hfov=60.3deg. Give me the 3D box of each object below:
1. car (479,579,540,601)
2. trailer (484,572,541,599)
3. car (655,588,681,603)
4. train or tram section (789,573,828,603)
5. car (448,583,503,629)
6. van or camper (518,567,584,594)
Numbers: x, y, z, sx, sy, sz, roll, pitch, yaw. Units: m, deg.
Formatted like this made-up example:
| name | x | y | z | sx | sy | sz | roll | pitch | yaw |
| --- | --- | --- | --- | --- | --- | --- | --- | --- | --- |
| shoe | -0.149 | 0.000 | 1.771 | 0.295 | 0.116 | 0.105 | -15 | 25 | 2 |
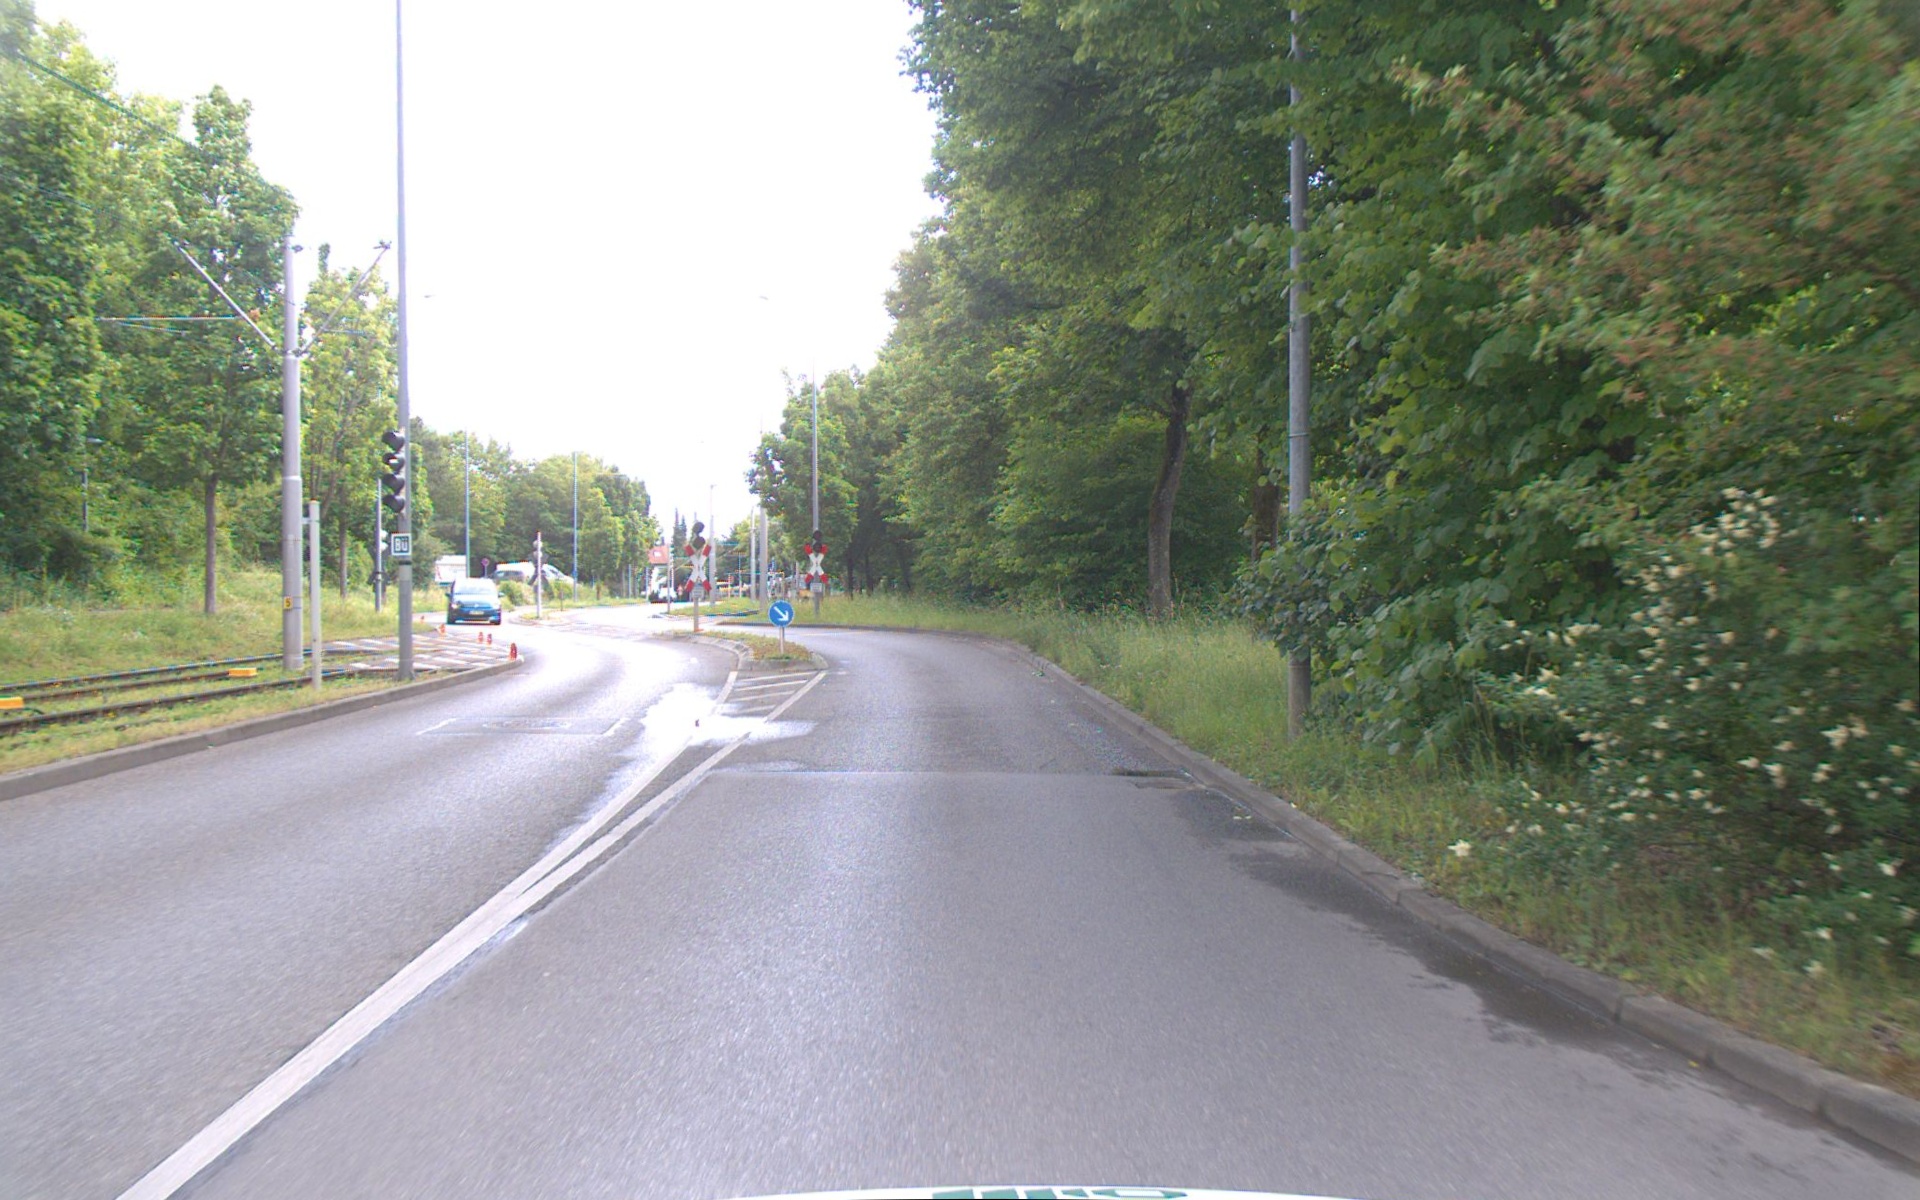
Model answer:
| name | x | y | z | sx | sy | sz | roll | pitch | yaw |
| --- | --- | --- | --- | --- | --- | --- | --- | --- | --- |
| car | -33.913 | -0.754 | 124.577 | 4.232 | 1.474 | 1.832 | -2 | 0 | -10 |
| trailer | -34.509 | -1.099 | 127.577 | 3.907 | 2.049 | 1.907 | 0 | 0 | -3 |
| car | -29.300 | -0.445 | 166.076 | 1.953 | 1.463 | 4.425 | -2 | 0 | -2 |
| train or tram section | -18.849 | -1.340 | 203.465 | 2.951 | 3.368 | 34.643 | 0 | 0 | -8 |
| car | -17.406 | 0.205 | 59.303 | 1.838 | 1.547 | 4.218 | 0 | 1 | -17 |
| van or camper | -35.073 | -1.679 | 142.002 | 5.230 | 2.241 | 1.998 | 0 | 0 | -6 |
